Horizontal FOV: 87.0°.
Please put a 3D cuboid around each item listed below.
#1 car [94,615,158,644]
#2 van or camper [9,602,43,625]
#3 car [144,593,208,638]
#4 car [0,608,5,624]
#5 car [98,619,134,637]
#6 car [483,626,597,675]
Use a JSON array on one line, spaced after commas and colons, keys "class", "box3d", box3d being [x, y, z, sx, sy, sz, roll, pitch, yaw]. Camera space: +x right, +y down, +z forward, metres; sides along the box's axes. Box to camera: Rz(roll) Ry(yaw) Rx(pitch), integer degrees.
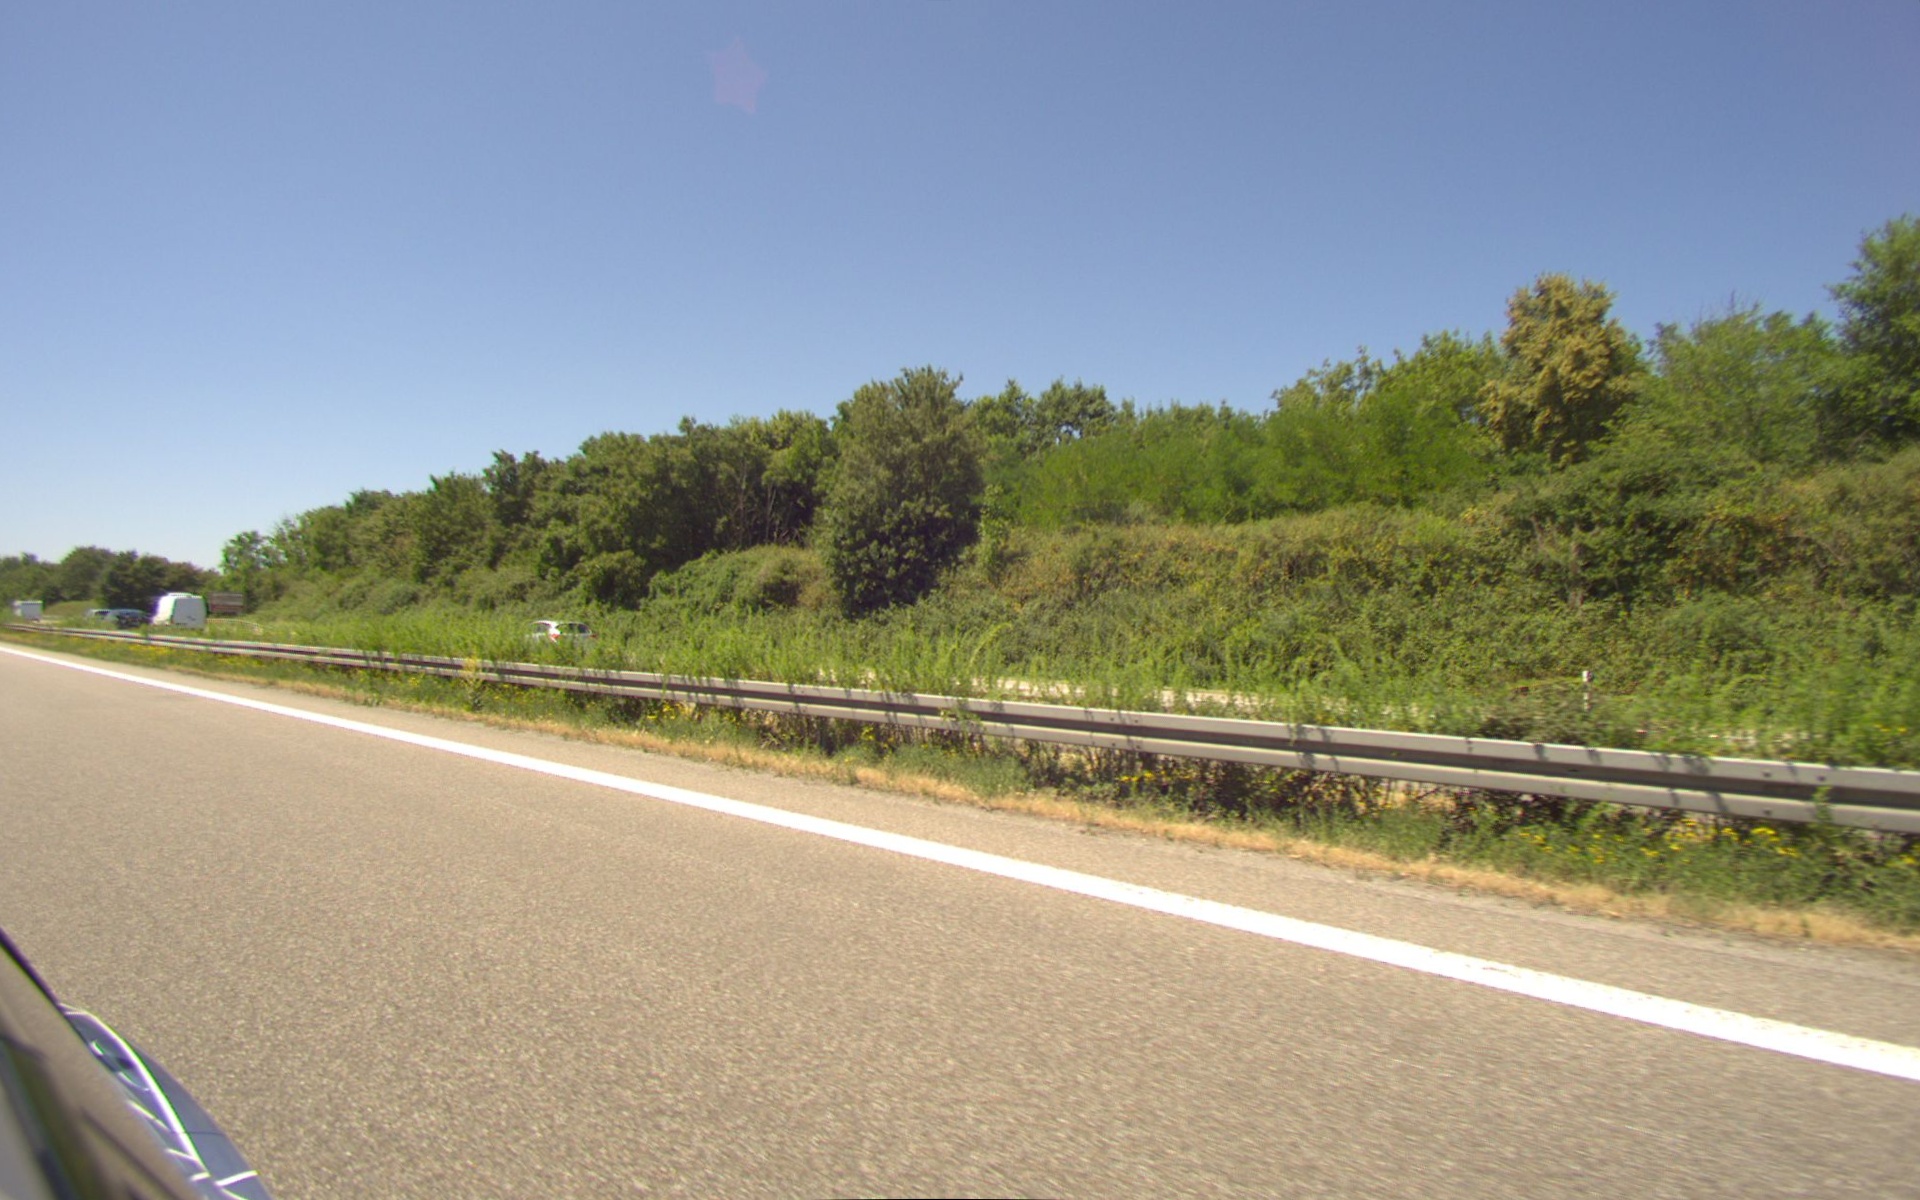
[{"class": "car", "box3d": [-47.517, 1.673, 57.628, 5.041, 1.579, 1.973, -1, -2, 41]}, {"class": "van or camper", "box3d": [-126.389, 1.838, 136.879, 7.752, 3.026, 2.579, -1, -2, 41]}, {"class": "car", "box3d": [-51.796, 1.056, 66.831, 6.655, 2.767, 2.014, -1, -4, 41]}, {"class": "car", "box3d": [-141.090, 2.339, 147.432, 5.943, 2.203, 2.258, -1, -2, 41]}, {"class": "car", "box3d": [-71.625, 2.361, 85.870, 4.414, 1.519, 1.724, -1, 0, 41]}, {"class": "car", "box3d": [-14.736, 1.724, 35.394, 4.447, 1.519, 1.920, -1, 0, 41]}]
